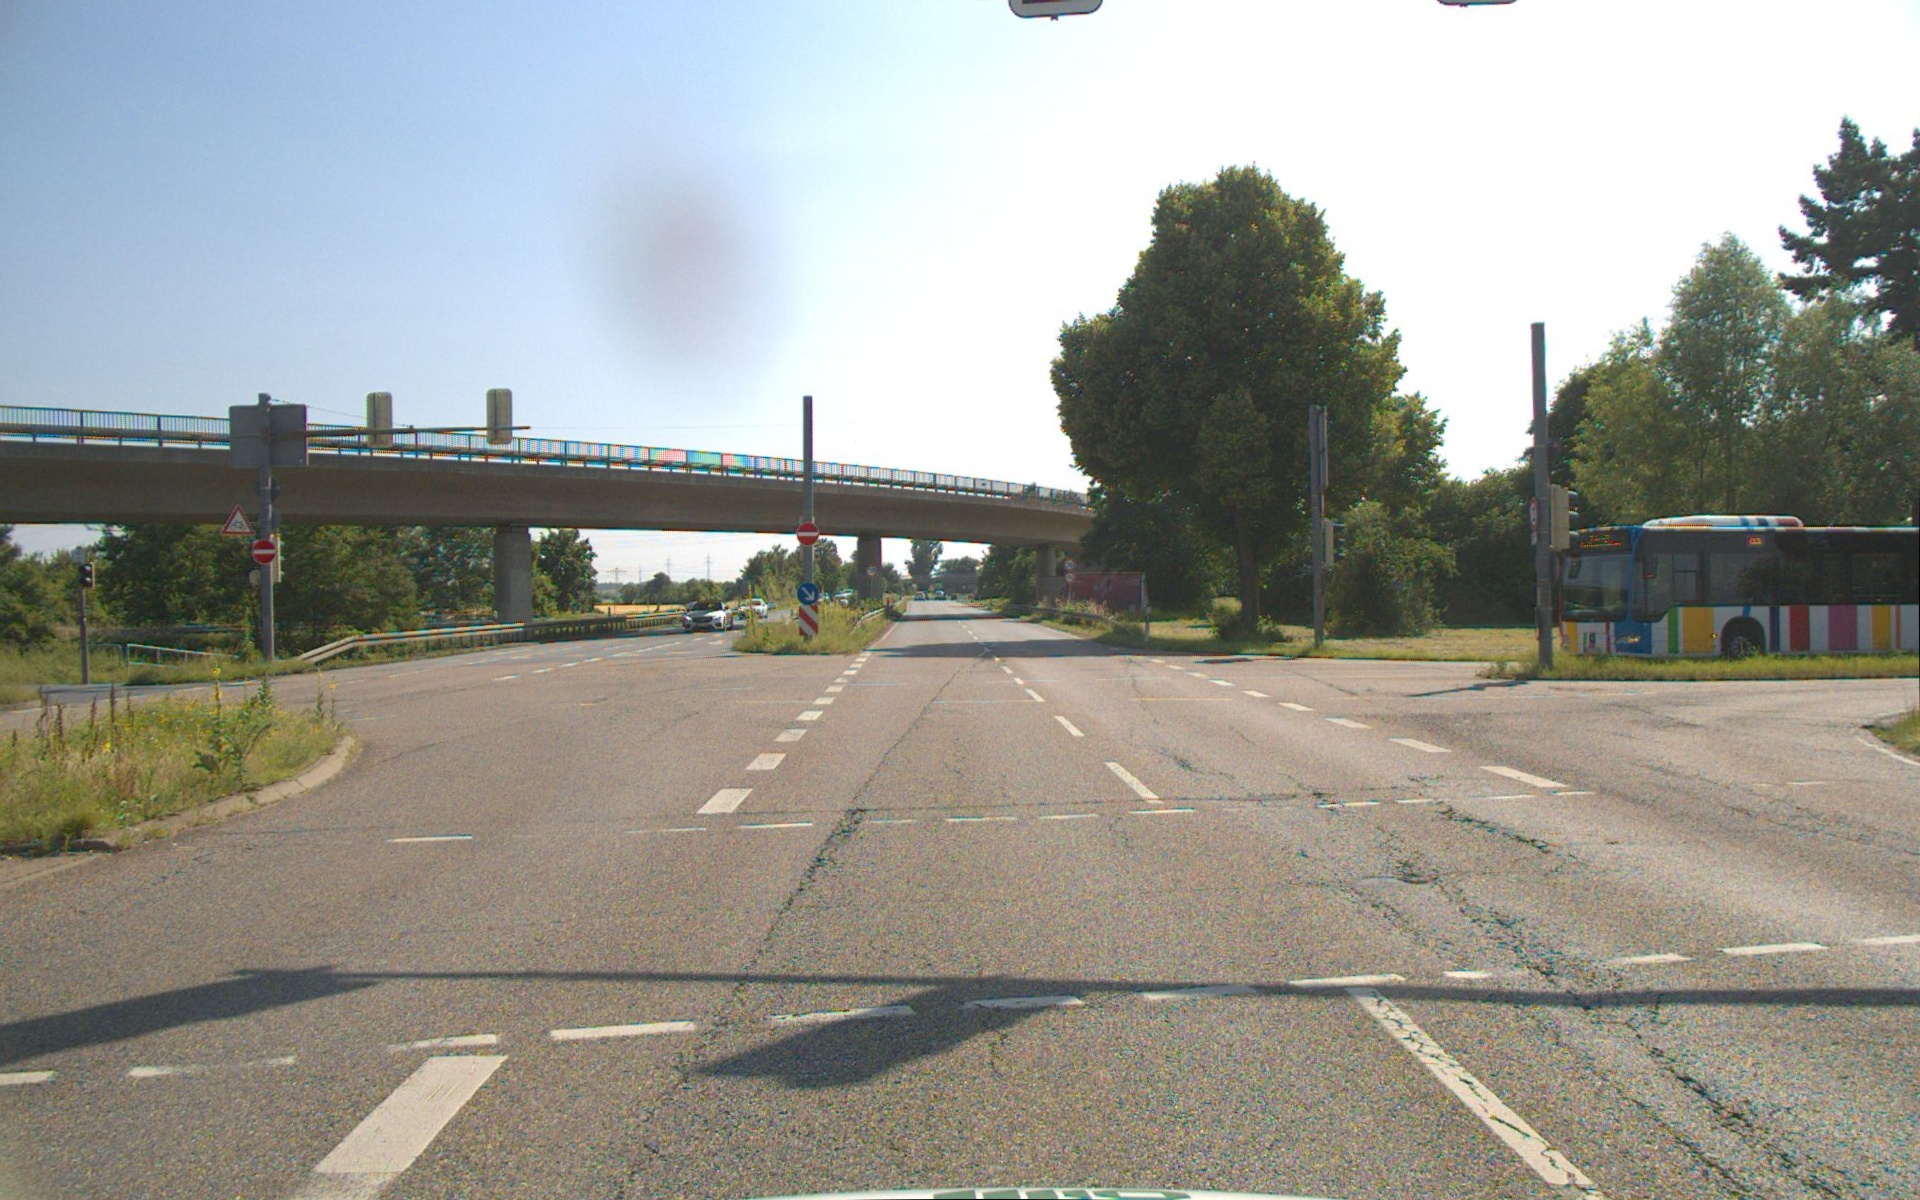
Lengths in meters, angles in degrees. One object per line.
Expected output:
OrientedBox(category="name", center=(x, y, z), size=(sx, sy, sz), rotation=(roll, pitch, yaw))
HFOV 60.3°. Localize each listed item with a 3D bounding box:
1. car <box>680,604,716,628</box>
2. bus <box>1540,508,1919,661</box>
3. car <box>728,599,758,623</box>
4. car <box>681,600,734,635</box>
OrientedBox(category="car", center=(-15.764, 0.946, 99.650), size=(1.607, 1.409, 4.239), rotation=(-2, 0, -2))
OrientedBox(category="bus", center=(18.457, -0.420, 35.607), size=(11.745, 2.927, 2.929), rotation=(-2, 0, -16))
OrientedBox(category="car", center=(-15.965, 0.808, 121.637), size=(1.754, 1.656, 3.998), rotation=(-2, 0, -2))
OrientedBox(category="car", center=(-11.770, 0.796, 77.314), size=(1.819, 1.473, 4.239), rotation=(-3, 0, -2))
